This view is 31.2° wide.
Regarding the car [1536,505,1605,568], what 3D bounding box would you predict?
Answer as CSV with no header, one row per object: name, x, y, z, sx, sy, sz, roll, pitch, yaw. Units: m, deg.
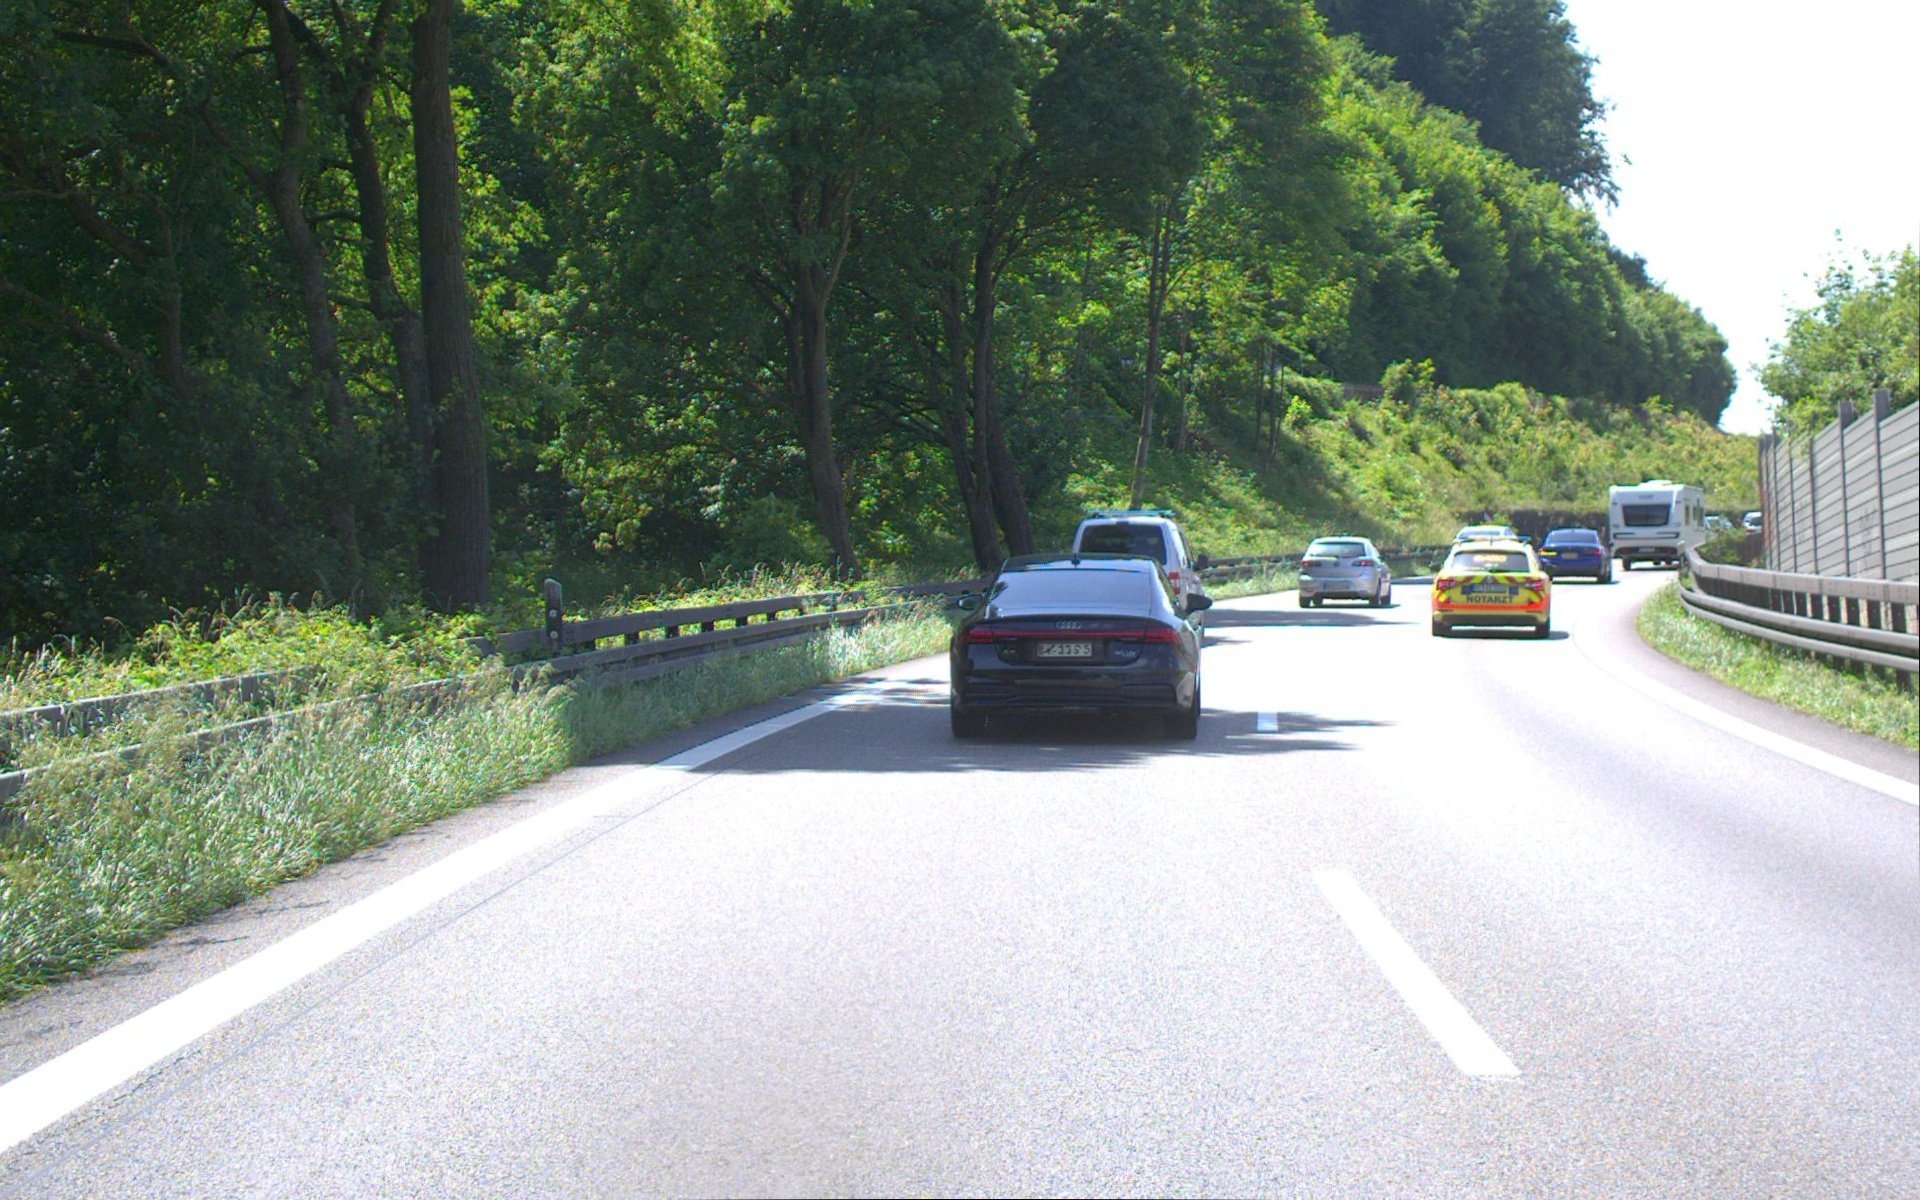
car,16.342,-1.674,92.077,1.774,1.631,3.998,0,1,10

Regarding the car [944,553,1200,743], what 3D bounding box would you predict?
car,0.947,0.341,27.068,1.838,1.345,3.999,1,0,4

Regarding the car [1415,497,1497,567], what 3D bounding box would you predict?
car,14.726,-2.035,102.009,1.995,2.007,3.998,-1,1,14

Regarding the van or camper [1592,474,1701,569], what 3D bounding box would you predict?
van or camper,21.706,-2.446,108.532,2.458,2.908,6.120,0,1,20

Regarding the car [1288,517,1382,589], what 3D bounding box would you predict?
car,7.736,-0.964,70.707,1.747,1.426,3.999,0,1,8

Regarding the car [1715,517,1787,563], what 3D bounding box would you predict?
car,31.365,-2.395,136.214,1.996,1.711,3.995,-1,1,24

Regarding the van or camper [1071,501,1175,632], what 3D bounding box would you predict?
van or camper,2.328,-0.485,49.616,1.391,1.809,4.000,-1,0,1

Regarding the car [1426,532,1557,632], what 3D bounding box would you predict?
car,8.342,-0.289,53.720,1.863,1.483,3.998,0,1,11
